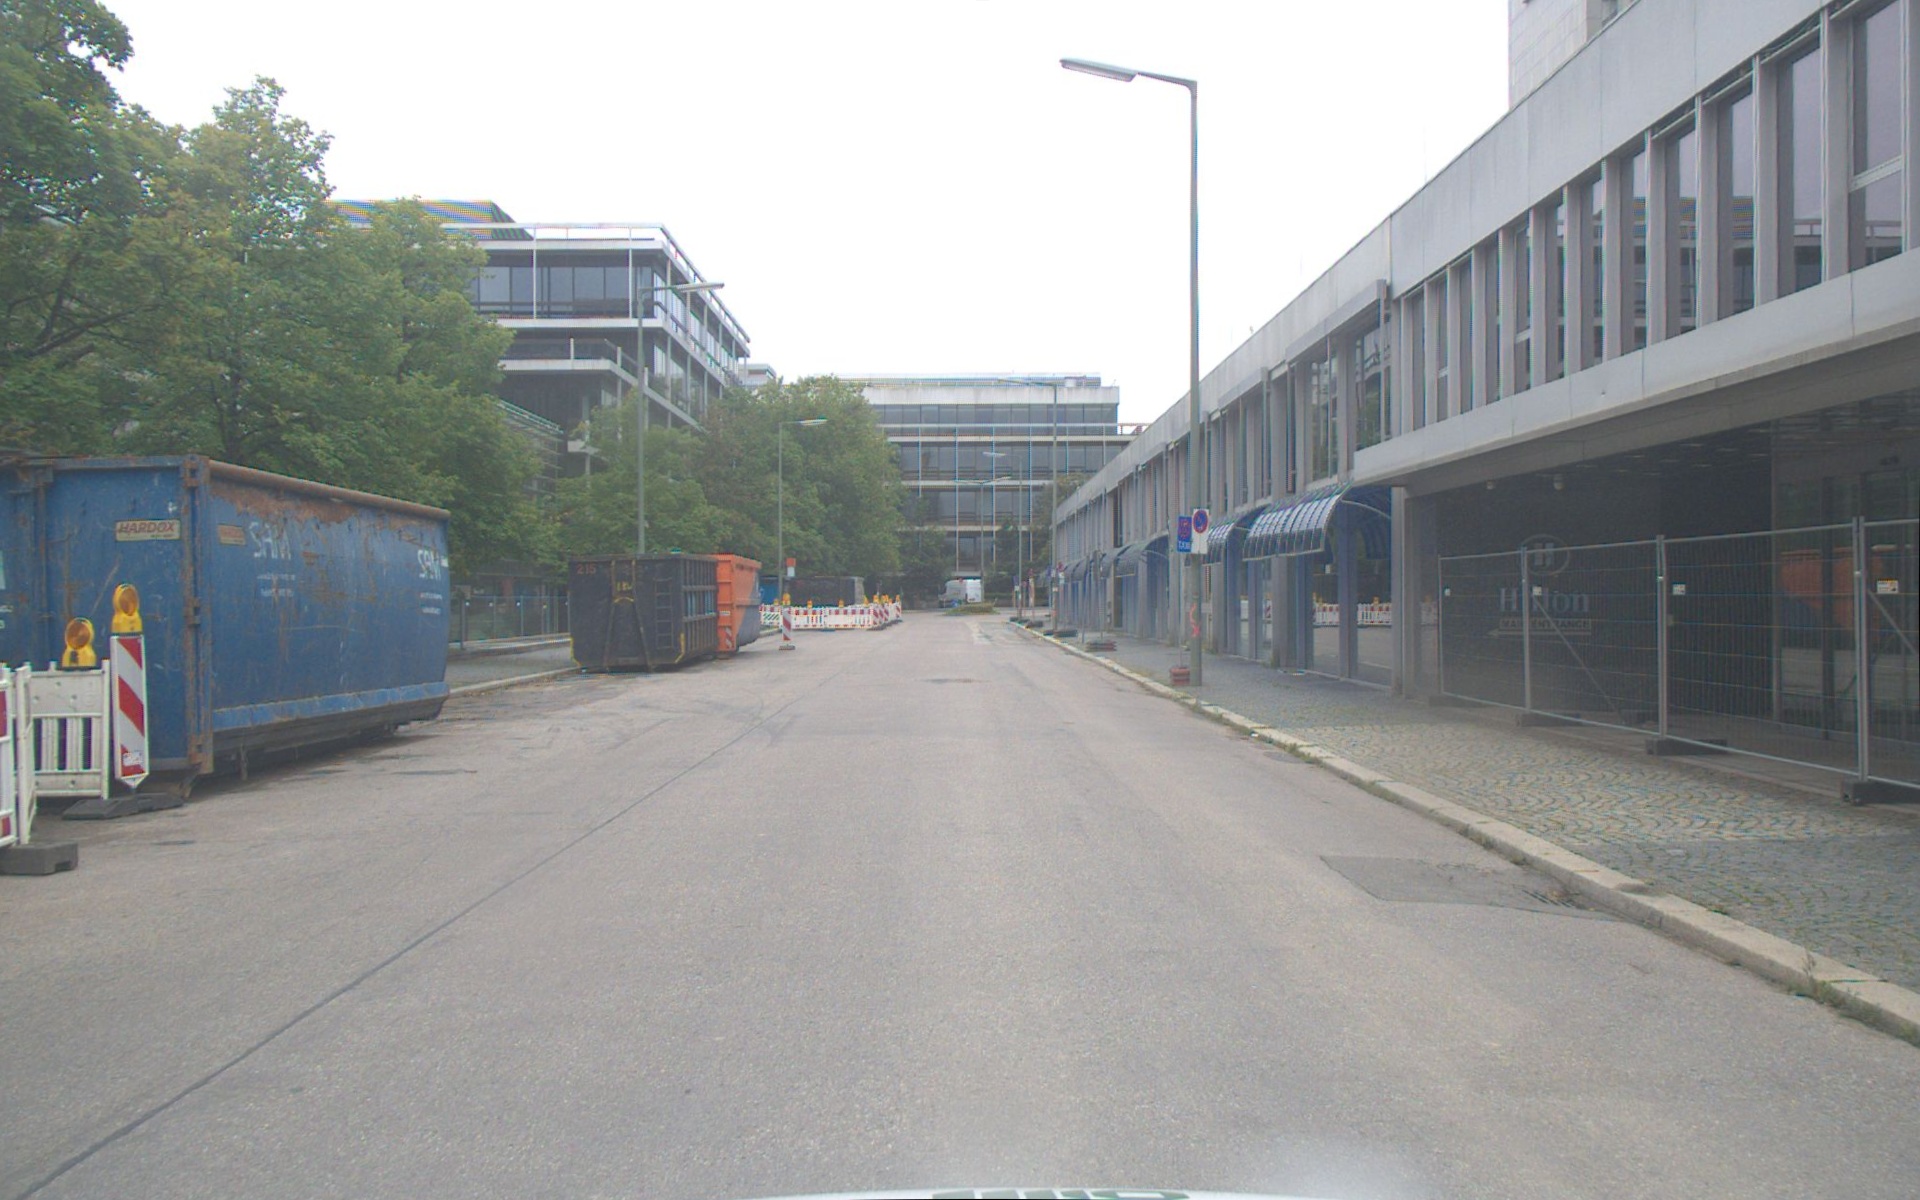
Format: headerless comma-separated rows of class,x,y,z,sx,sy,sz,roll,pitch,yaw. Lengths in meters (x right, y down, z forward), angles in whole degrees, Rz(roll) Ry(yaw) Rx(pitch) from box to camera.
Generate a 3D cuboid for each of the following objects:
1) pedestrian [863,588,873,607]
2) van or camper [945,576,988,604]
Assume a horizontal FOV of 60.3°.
pedestrian,-8.610,-0.227,154.747,0.730,1.706,0.678,-1,0,-20
van or camper,0.595,-0.939,156.007,2.059,2.535,5.026,-1,0,-25
